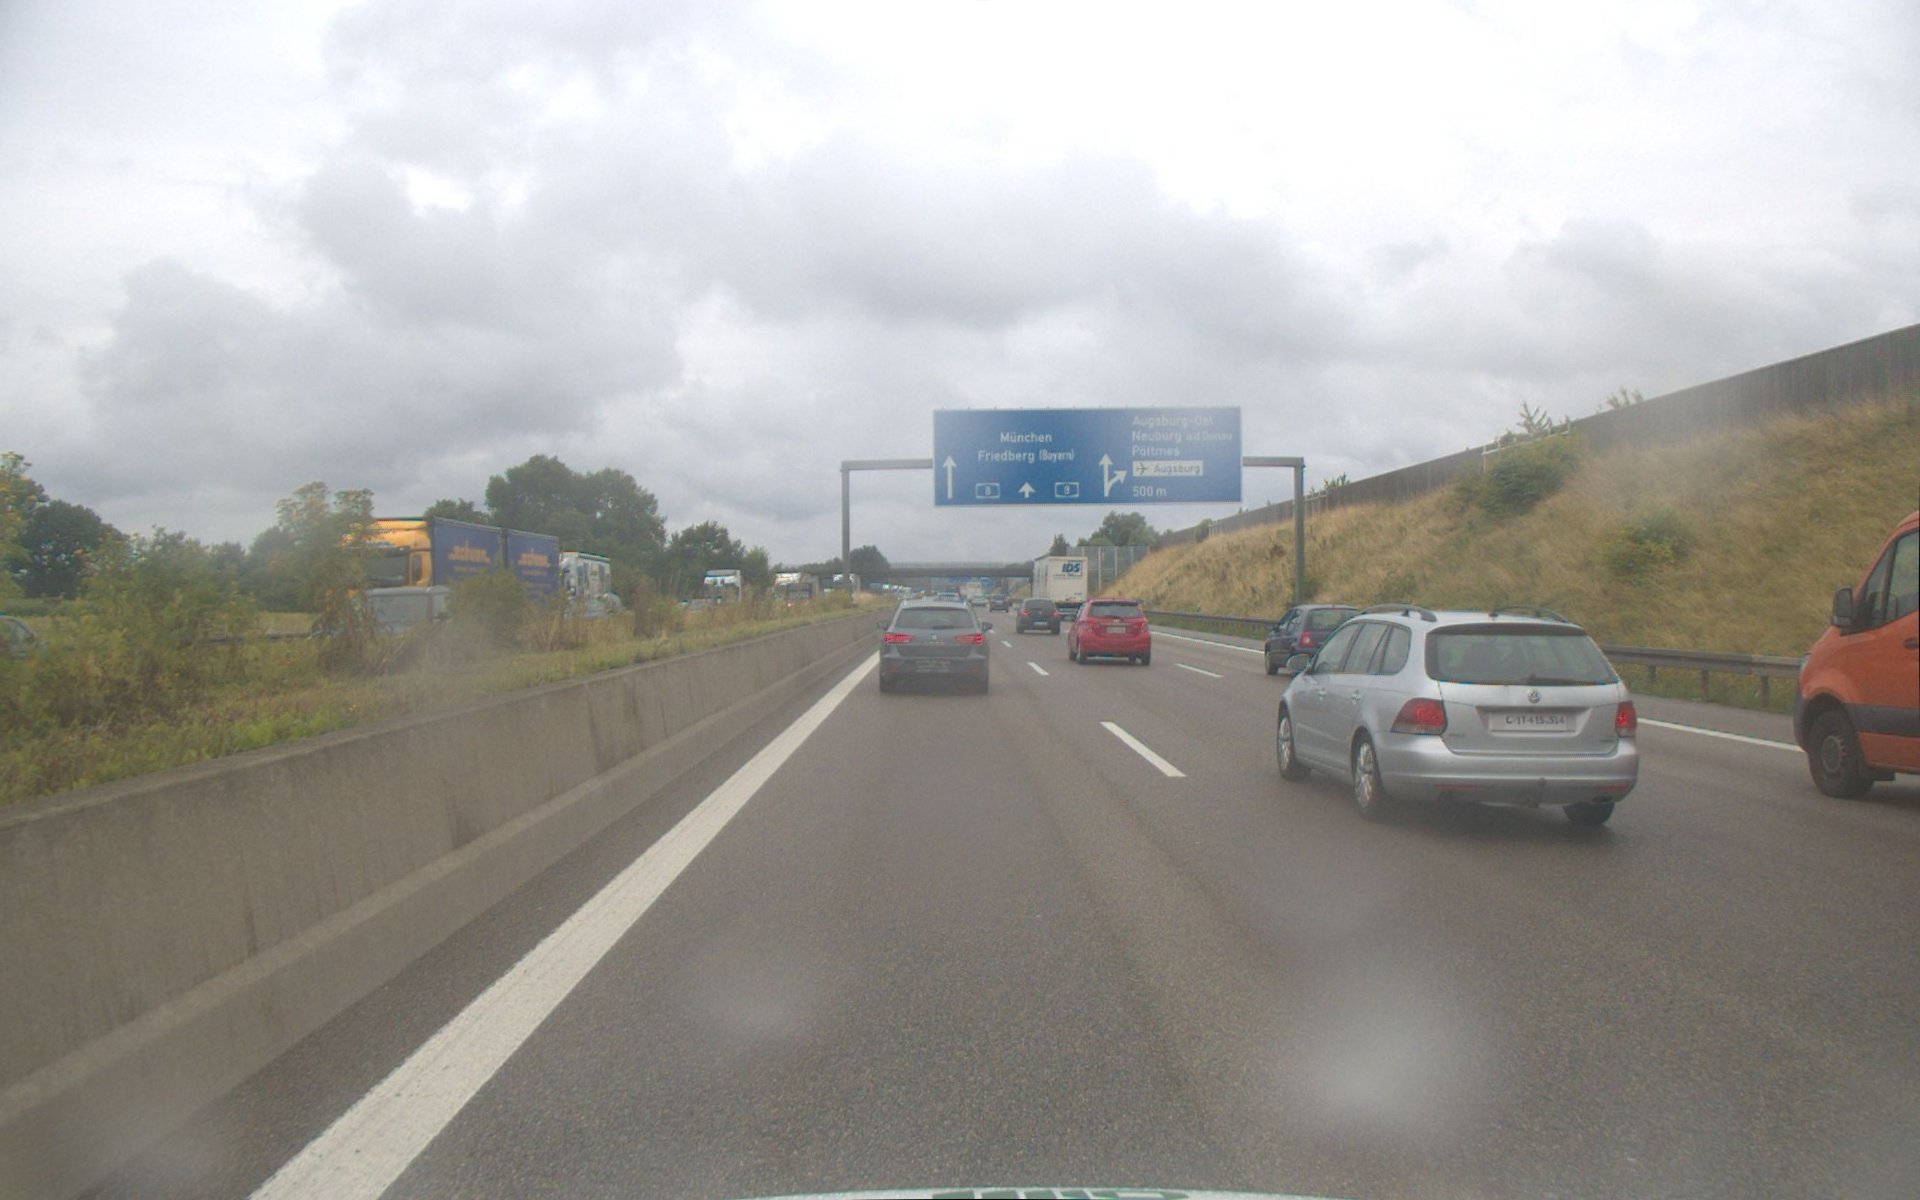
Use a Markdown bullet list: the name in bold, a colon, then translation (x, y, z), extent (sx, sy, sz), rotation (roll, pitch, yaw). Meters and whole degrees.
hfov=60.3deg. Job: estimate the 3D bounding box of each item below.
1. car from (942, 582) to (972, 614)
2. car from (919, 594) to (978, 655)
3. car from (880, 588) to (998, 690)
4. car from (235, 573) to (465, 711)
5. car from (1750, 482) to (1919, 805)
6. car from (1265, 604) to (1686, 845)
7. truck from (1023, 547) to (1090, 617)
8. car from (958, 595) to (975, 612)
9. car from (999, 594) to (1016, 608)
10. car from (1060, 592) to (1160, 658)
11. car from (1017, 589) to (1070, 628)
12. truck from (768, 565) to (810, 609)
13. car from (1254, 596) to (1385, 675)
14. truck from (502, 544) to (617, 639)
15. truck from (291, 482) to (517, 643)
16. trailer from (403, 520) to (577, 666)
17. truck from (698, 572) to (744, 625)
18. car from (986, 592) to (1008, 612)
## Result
- **car**: translation (-0.185, -0.110, 100.330), extent (1.670, 1.828, 3.853), rotation (-2, 0, -2)
- **car**: translation (-0.377, 0.738, 51.524), extent (1.718, 1.780, 3.999), rotation (1, 0, -1)
- **car**: translation (-0.373, 0.585, 26.523), extent (1.733, 1.493, 3.998), rotation (1, 0, -2)
- **car**: translation (-8.957, 0.584, 24.676), extent (1.953, 1.847, 3.999), rotation (1, 0, -1)
- **car**: translation (8.027, 0.321, 11.413), extent (2.044, 2.355, 6.179), rotation (0, 0, -2)
- **car**: translation (3.625, 0.777, 12.547), extent (1.706, 1.450, 4.516), rotation (-1, 0, -1)
- **truck**: translation (6.496, -1.088, 114.342), extent (3.216, 4.370, 19.029), rotation (1, 0, -1)
- **car**: translation (0.811, 0.408, 208.221), extent (1.953, 2.049, 4.241), rotation (1, 0, 0)
- **car**: translation (6.432, 0.123, 225.601), extent (1.954, 1.892, 4.388), rotation (0, 0, -3)
- **car**: translation (3.474, 0.544, 39.120), extent (1.853, 1.472, 4.683), rotation (0, 0, -1)
- **car**: translation (3.391, 0.329, 68.289), extent (1.882, 1.548, 4.621), rotation (0, 0, -1)
- **truck**: translation (-17.687, -1.283, 171.573), extent (3.541, 4.349, 7.591), rotation (1, 0, 0)
- **car**: translation (6.984, 0.659, 32.472), extent (1.668, 1.426, 3.874), rotation (1, 0, -1)
- **truck**: translation (-20.706, -0.406, 86.379), extent (3.441, 4.562, 11.782), rotation (1, 0, -2)
- **truck**: translation (-17.009, -1.035, 51.729), extent (3.343, 4.440, 10.989), rotation (1, 0, 0)
- **trailer**: translation (-17.171, -0.265, 61.511), extent (3.319, 4.852, 11.678), rotation (1, 0, -2)
- **truck**: translation (-18.012, -0.147, 125.110), extent (2.587, 3.790, 5.872), rotation (1, 1, 0)
- **car**: translation (3.348, 0.170, 150.671), extent (1.808, 1.716, 3.999), rotation (1, 0, -1)
